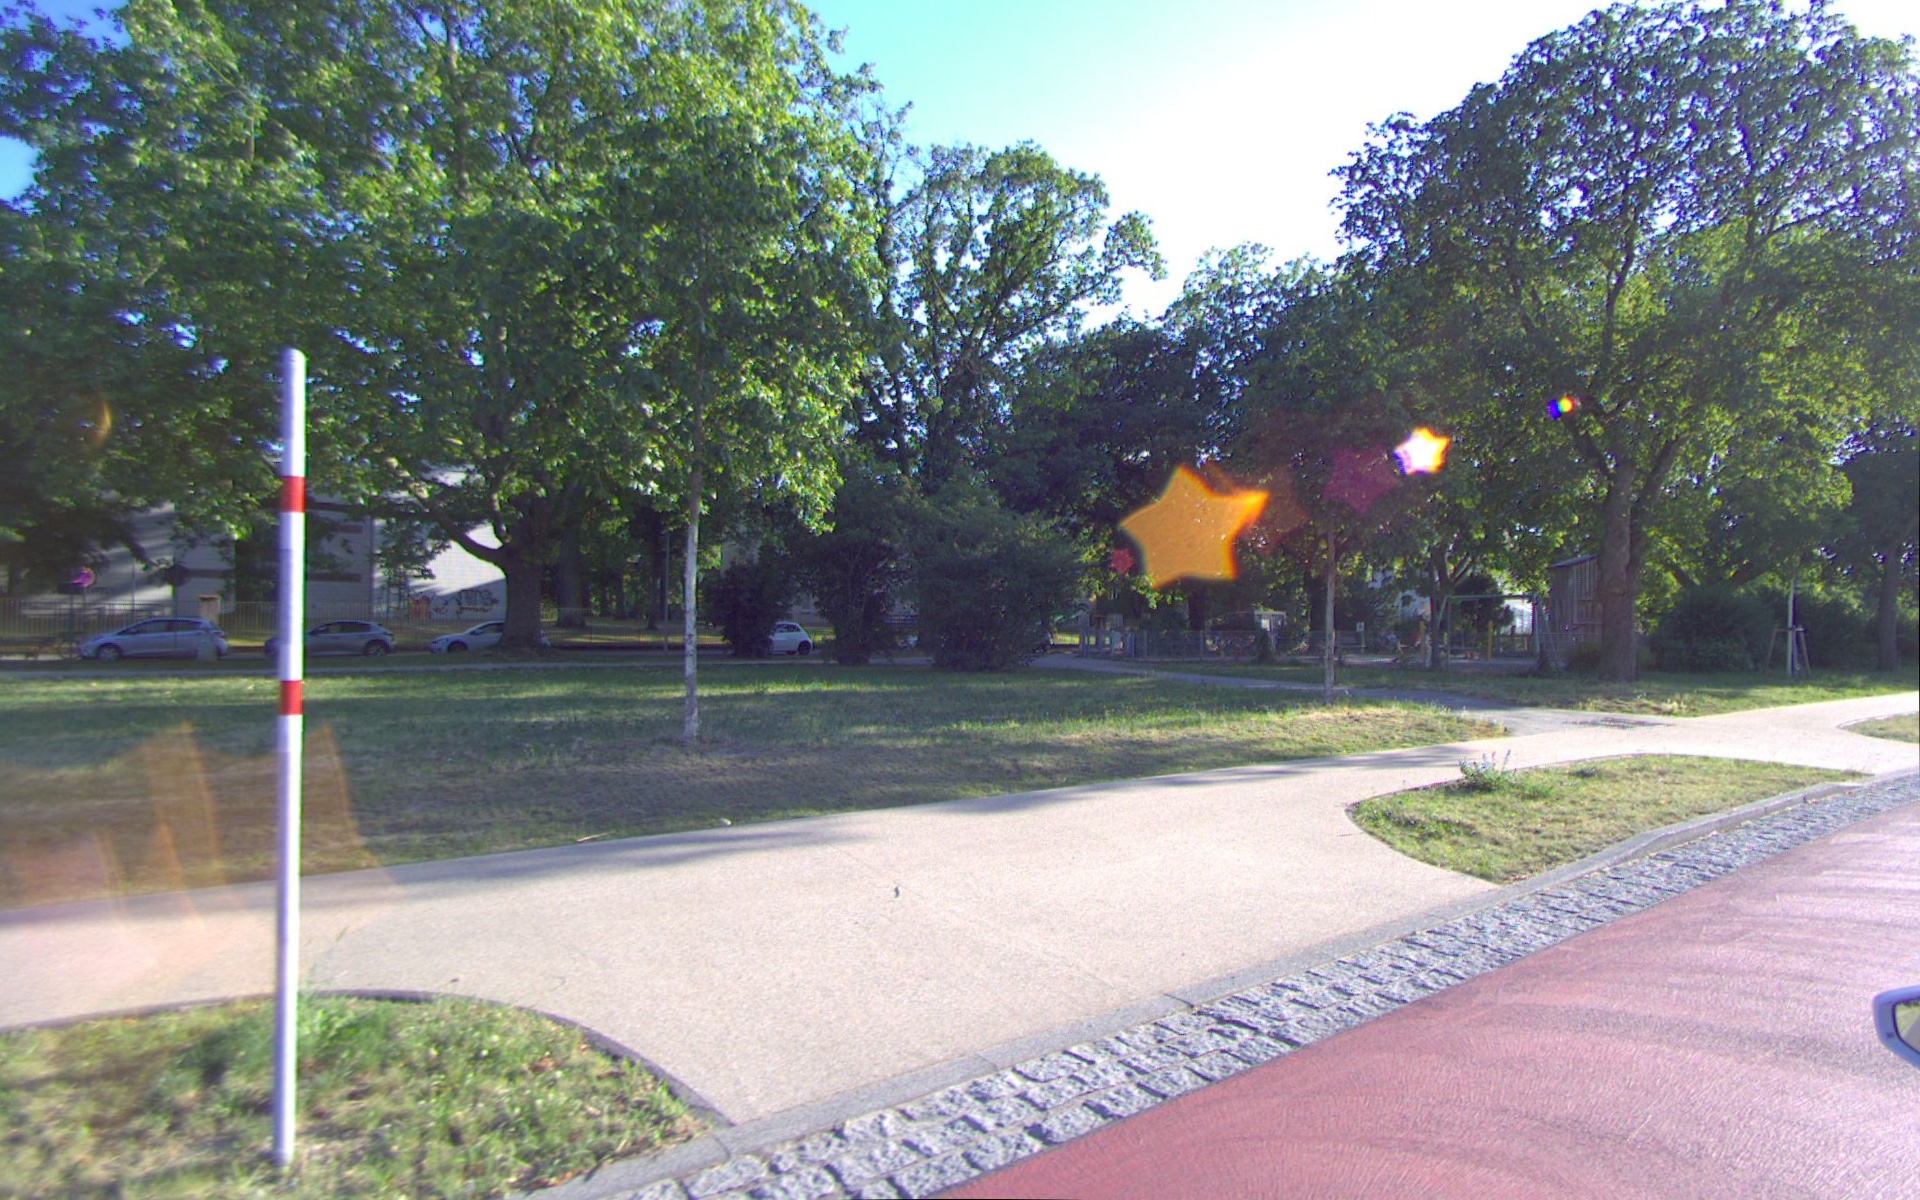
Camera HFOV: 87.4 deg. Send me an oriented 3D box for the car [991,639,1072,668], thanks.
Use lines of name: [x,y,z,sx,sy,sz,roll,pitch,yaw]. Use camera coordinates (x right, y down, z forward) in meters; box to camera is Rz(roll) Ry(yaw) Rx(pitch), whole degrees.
car: [3.922,2.894,54.898,4.074,1.528,1.981,2,-3,-35]

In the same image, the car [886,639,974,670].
car: [-1.491,2.727,50.968,4.074,1.528,1.981,2,-3,-35]

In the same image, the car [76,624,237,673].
car: [-26.375,1.596,33.166,3.960,1.528,1.981,2,-3,-35]

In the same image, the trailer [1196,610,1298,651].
trailer: [18.573,2.015,64.843,6.978,2.521,2.444,2,-3,-35]

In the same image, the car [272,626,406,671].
car: [-22.239,1.717,36.029,3.960,1.528,1.981,2,-3,-35]

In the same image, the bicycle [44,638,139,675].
bicycle: [-28.849,1.868,33.413,2.313,1.190,0.652,2,-3,-38]

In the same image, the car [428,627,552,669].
car: [-18.160,1.837,38.856,4.074,1.528,1.981,2,-3,-35]

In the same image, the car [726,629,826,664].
car: [-8.384,2.131,45.812,4.074,1.528,1.981,2,-3,-35]
